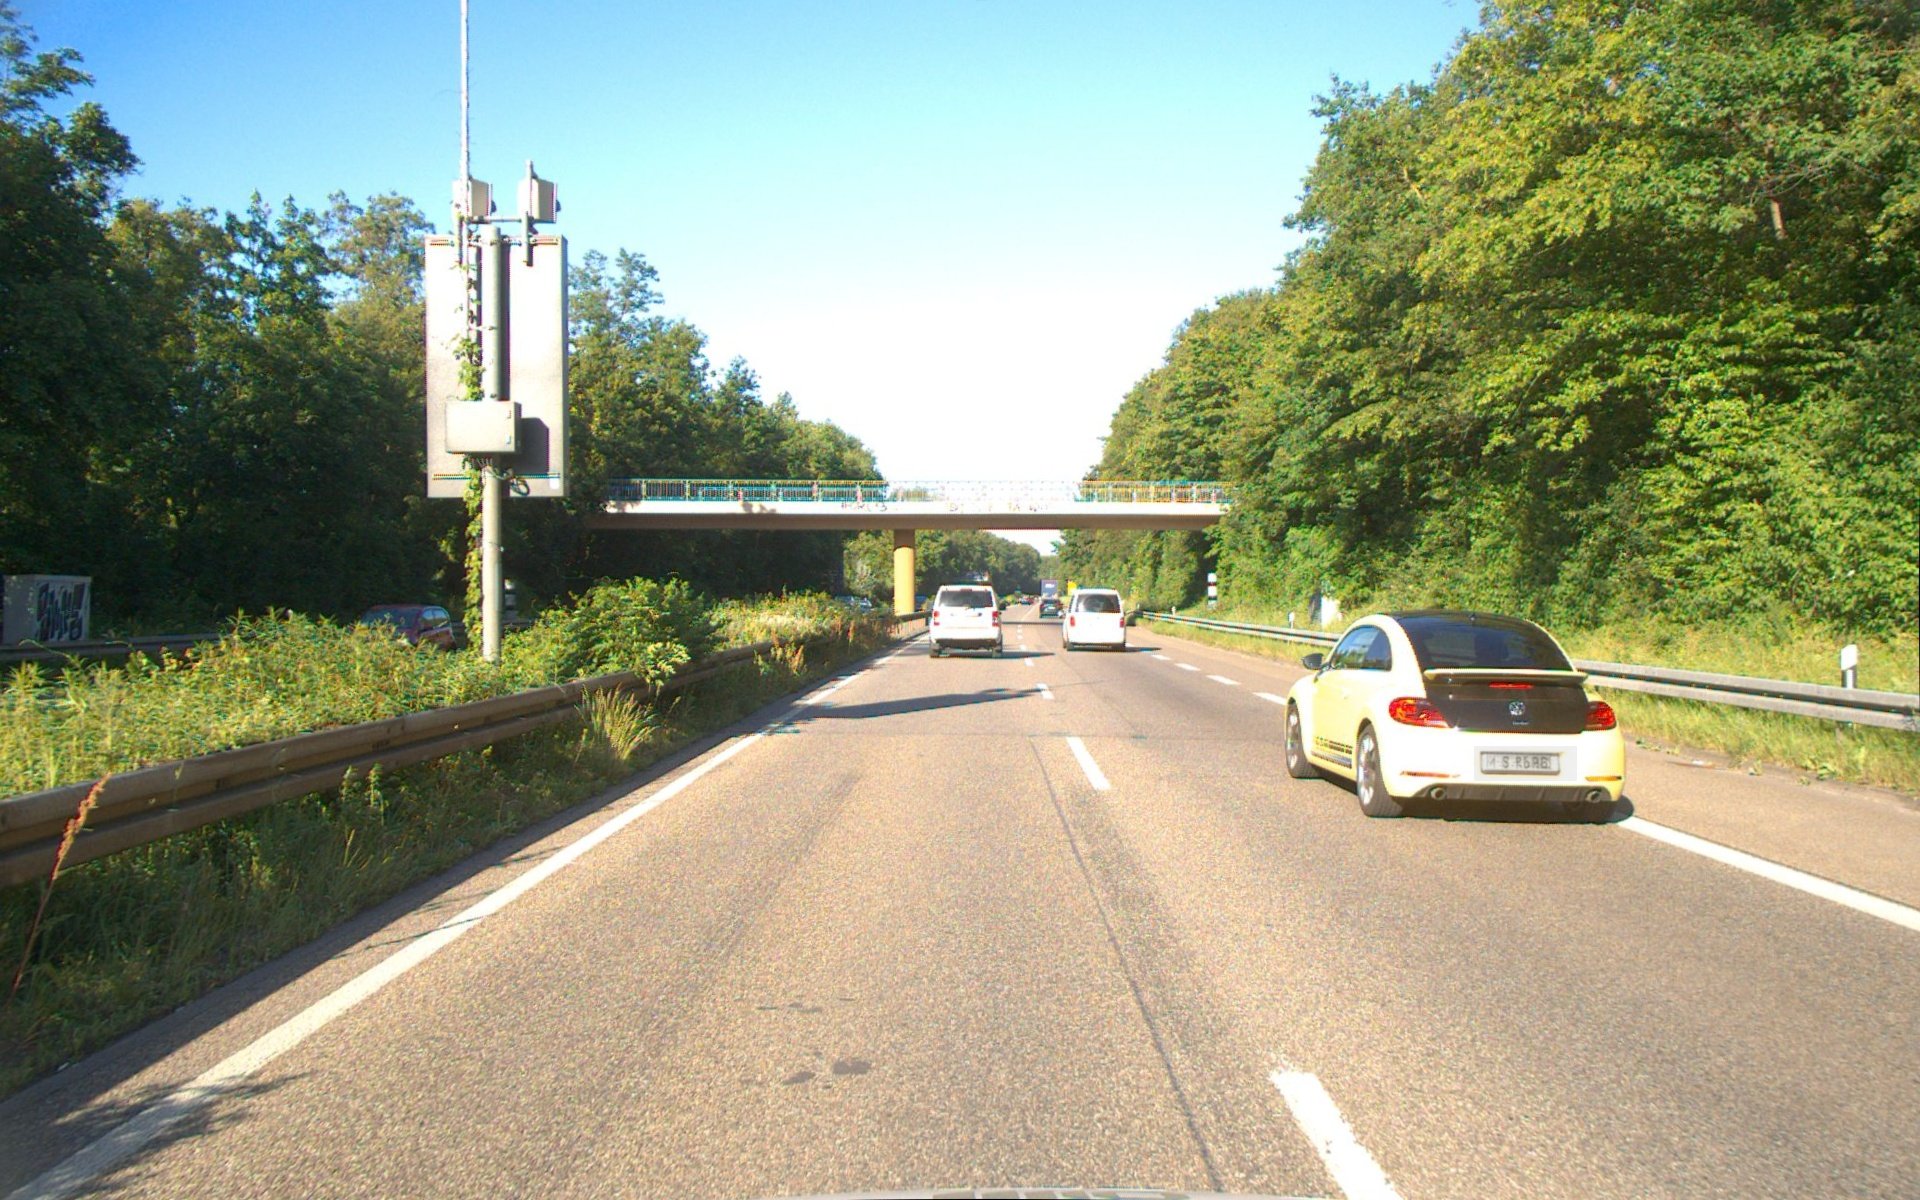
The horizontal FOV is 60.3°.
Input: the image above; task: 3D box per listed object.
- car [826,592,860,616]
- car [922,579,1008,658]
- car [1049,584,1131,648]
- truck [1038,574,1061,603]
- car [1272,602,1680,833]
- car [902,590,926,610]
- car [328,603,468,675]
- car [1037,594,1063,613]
[{"bbox_3d":[-8.746,0.272,123.834,1.920,1.688,5.042,-1,0,3],"label":"car"},{"bbox_3d":[0.103,0.449,41.956,2.043,1.860,3.999,1,0,-1],"label":"car"},{"bbox_3d":[3.831,0.445,49.516,1.827,1.801,4.466,-1,0,-4],"label":"car"},{"bbox_3d":[13.389,-1.715,248.607,3.423,4.246,8.865,0,0,3],"label":"truck"},{"bbox_3d":[3.841,0.786,13.161,1.841,1.487,4.355,0,0,-1],"label":"car"},{"bbox_3d":[-4.130,-0.013,149.941,1.920,1.754,4.593,-1,0,2],"label":"car"},{"bbox_3d":[-12.191,0.812,36.152,1.674,1.449,4.132,0,0,-1],"label":"car"},{"bbox_3d":[6.759,0.270,124.170,1.952,1.422,4.001,0,0,3],"label":"car"}]
